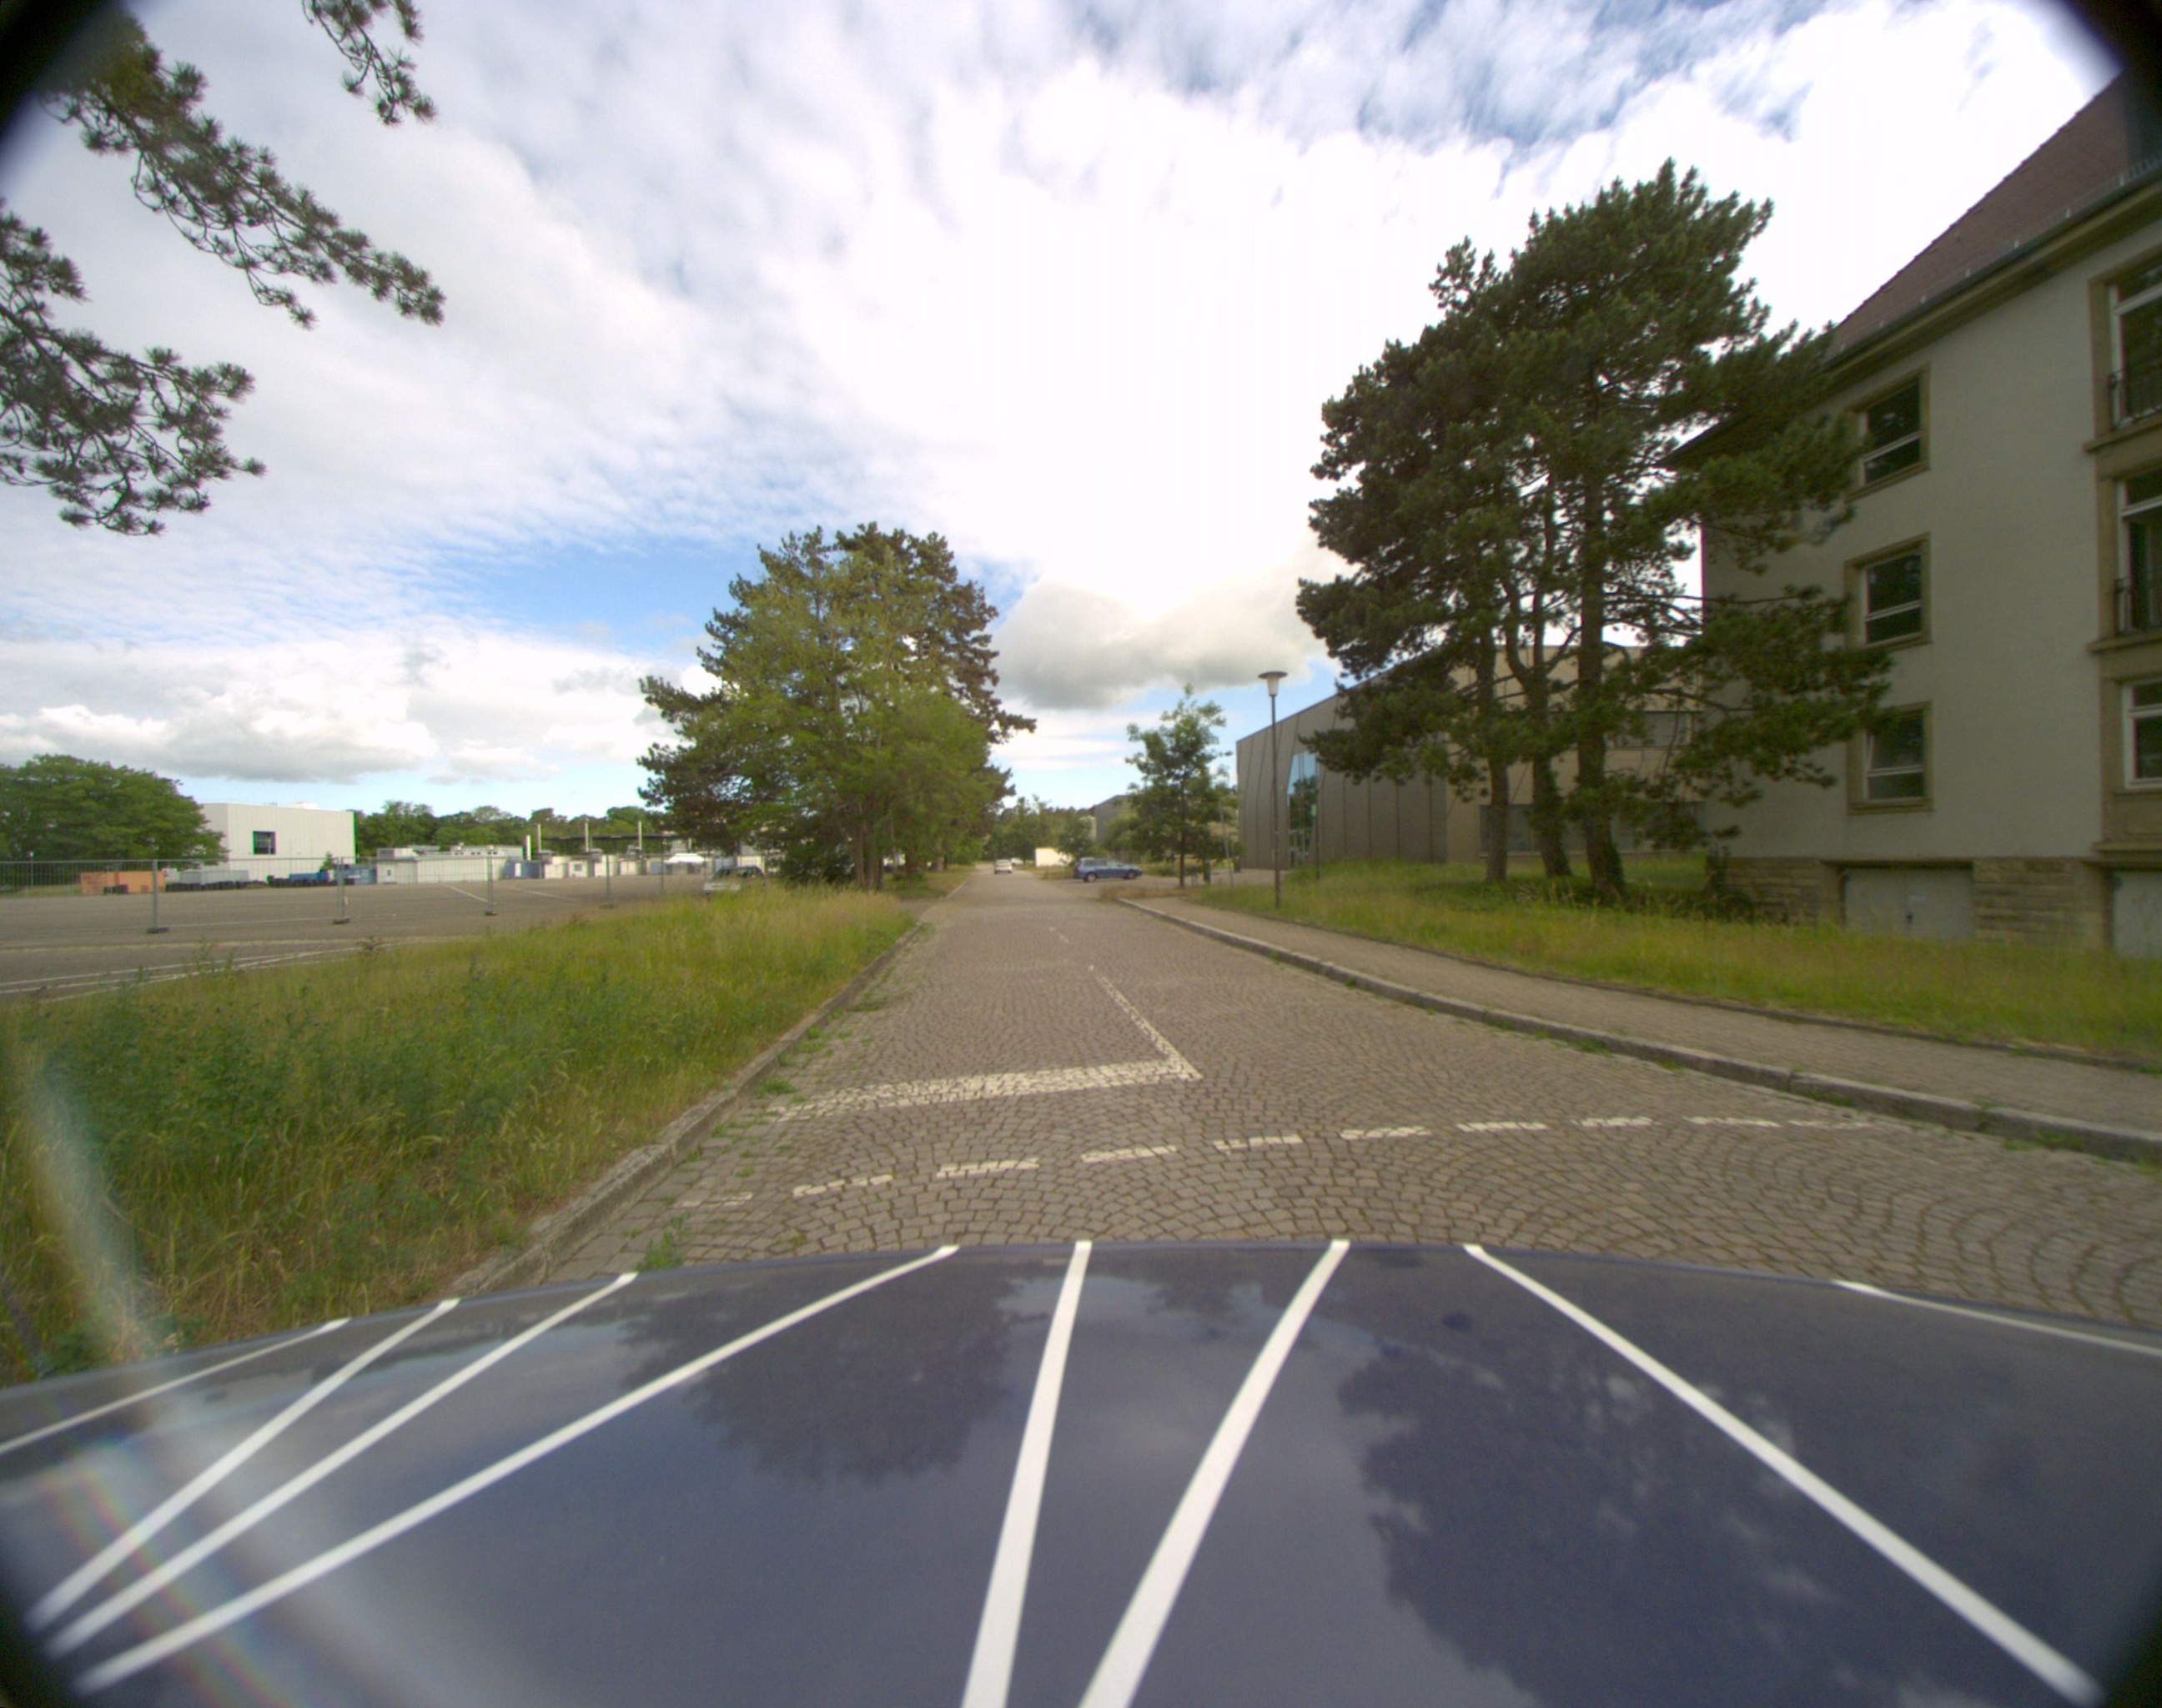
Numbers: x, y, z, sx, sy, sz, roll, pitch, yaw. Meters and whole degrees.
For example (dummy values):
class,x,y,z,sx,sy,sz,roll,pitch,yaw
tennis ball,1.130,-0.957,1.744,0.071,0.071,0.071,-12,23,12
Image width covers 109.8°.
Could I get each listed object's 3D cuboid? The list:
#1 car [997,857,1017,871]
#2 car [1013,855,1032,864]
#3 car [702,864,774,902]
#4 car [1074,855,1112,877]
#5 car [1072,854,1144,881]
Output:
class,x,y,z,sx,sy,sz,roll,pitch,yaw
car,-7.930,1.024,81.192,1.779,1.429,4.214,1,0,-10
car,-12.976,1.279,168.627,4.064,1.767,1.791,-2,1,-7
car,-14.907,1.220,33.271,1.679,1.442,4.485,-2,0,-9
car,0.891,0.877,57.114,2.586,1.521,1.499,-3,1,-9
car,1.741,0.886,49.798,4.429,1.461,1.632,-3,1,-9
